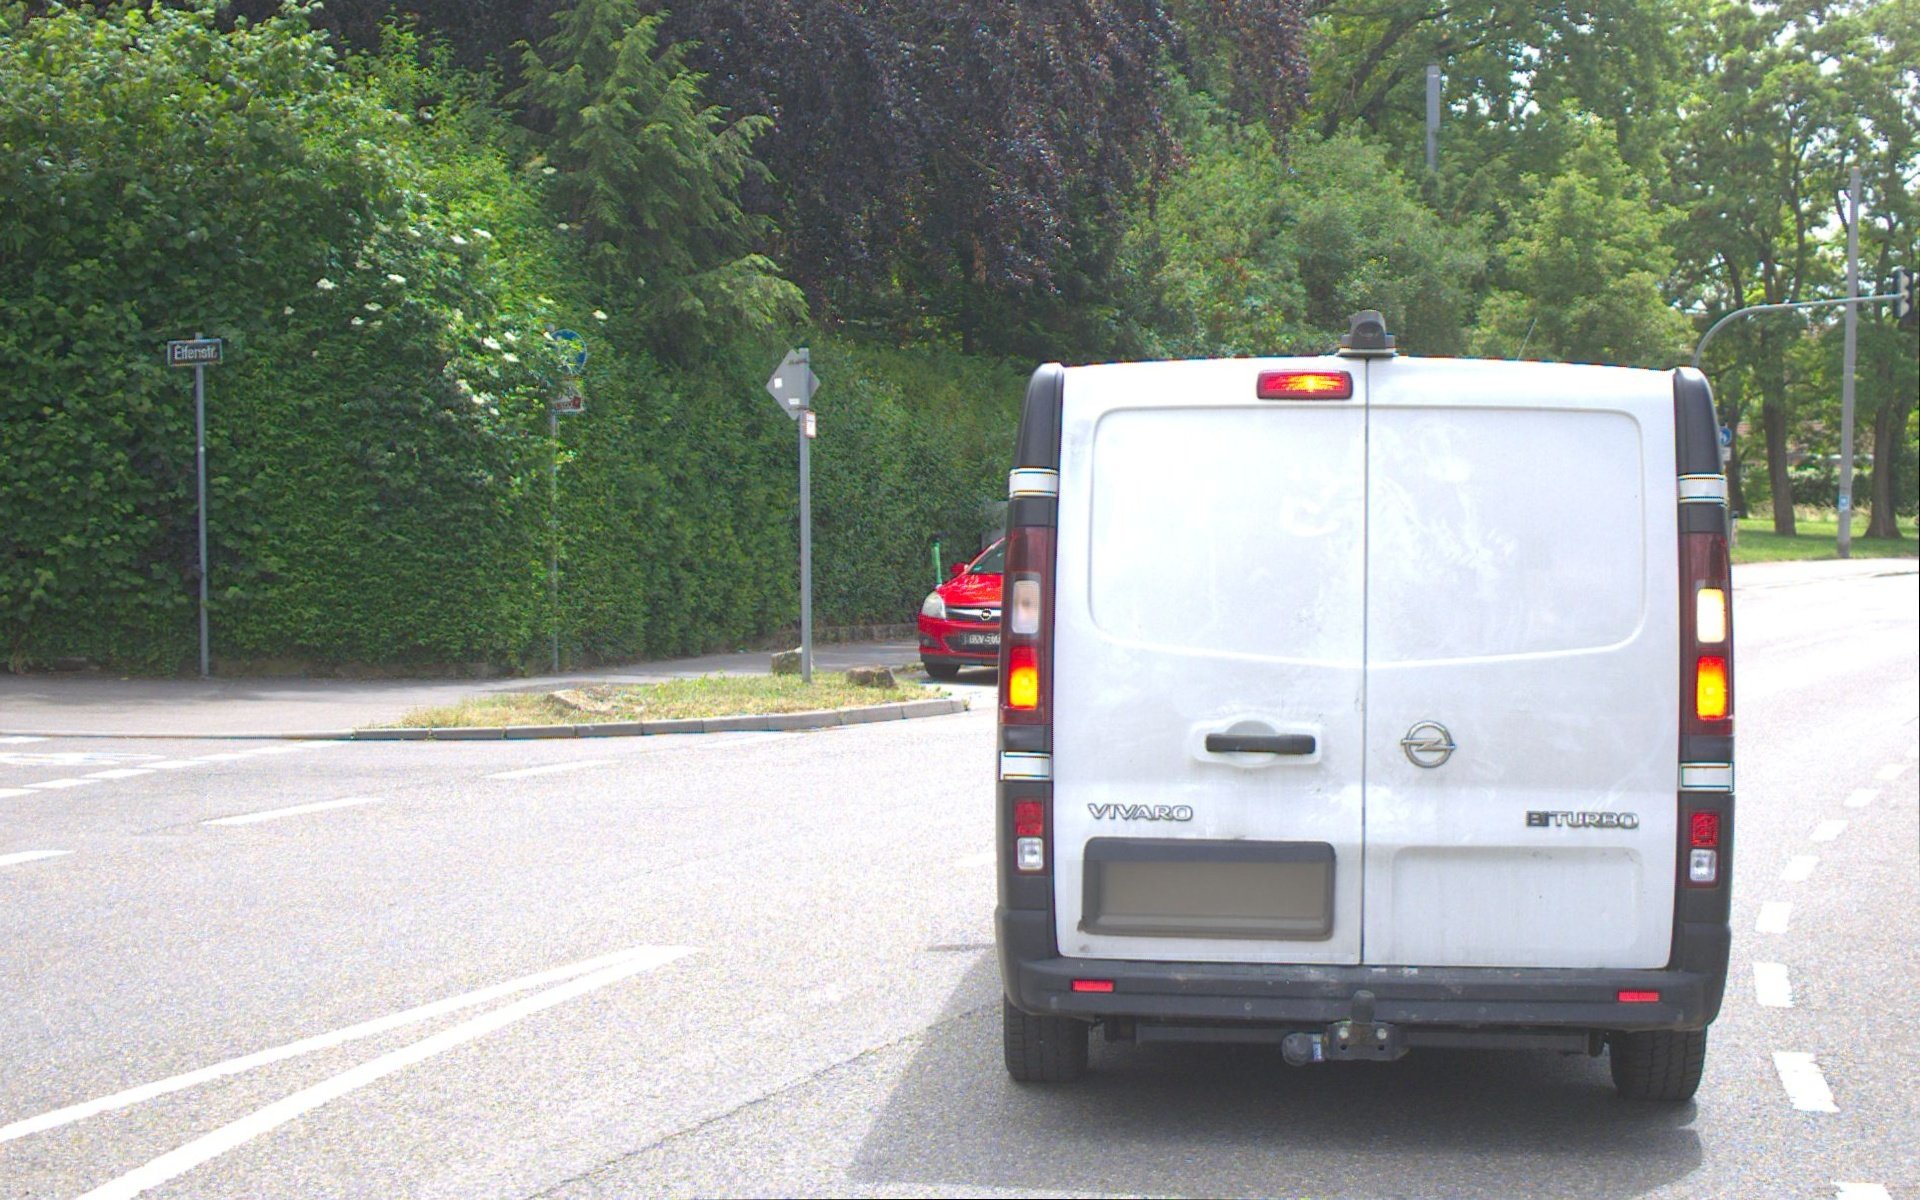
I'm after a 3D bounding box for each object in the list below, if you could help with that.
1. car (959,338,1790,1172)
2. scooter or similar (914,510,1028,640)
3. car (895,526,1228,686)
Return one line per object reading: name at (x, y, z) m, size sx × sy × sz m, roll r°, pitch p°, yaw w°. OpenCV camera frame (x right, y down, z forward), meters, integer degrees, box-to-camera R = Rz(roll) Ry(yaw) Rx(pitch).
car at (1.172, 0.294, 10.590) m, size 1.939 × 1.954 × 4.833 m, roll 1°, pitch 2°, yaw 5°
scooter or similar at (0.134, -0.300, 38.764) m, size 0.671 × 1.407 × 1.647 m, roll 2°, pitch 2°, yaw 24°
car at (1.063, 0.004, 33.040) m, size 1.662 × 1.373 × 4.561 m, roll 2°, pitch 2°, yaw 22°
